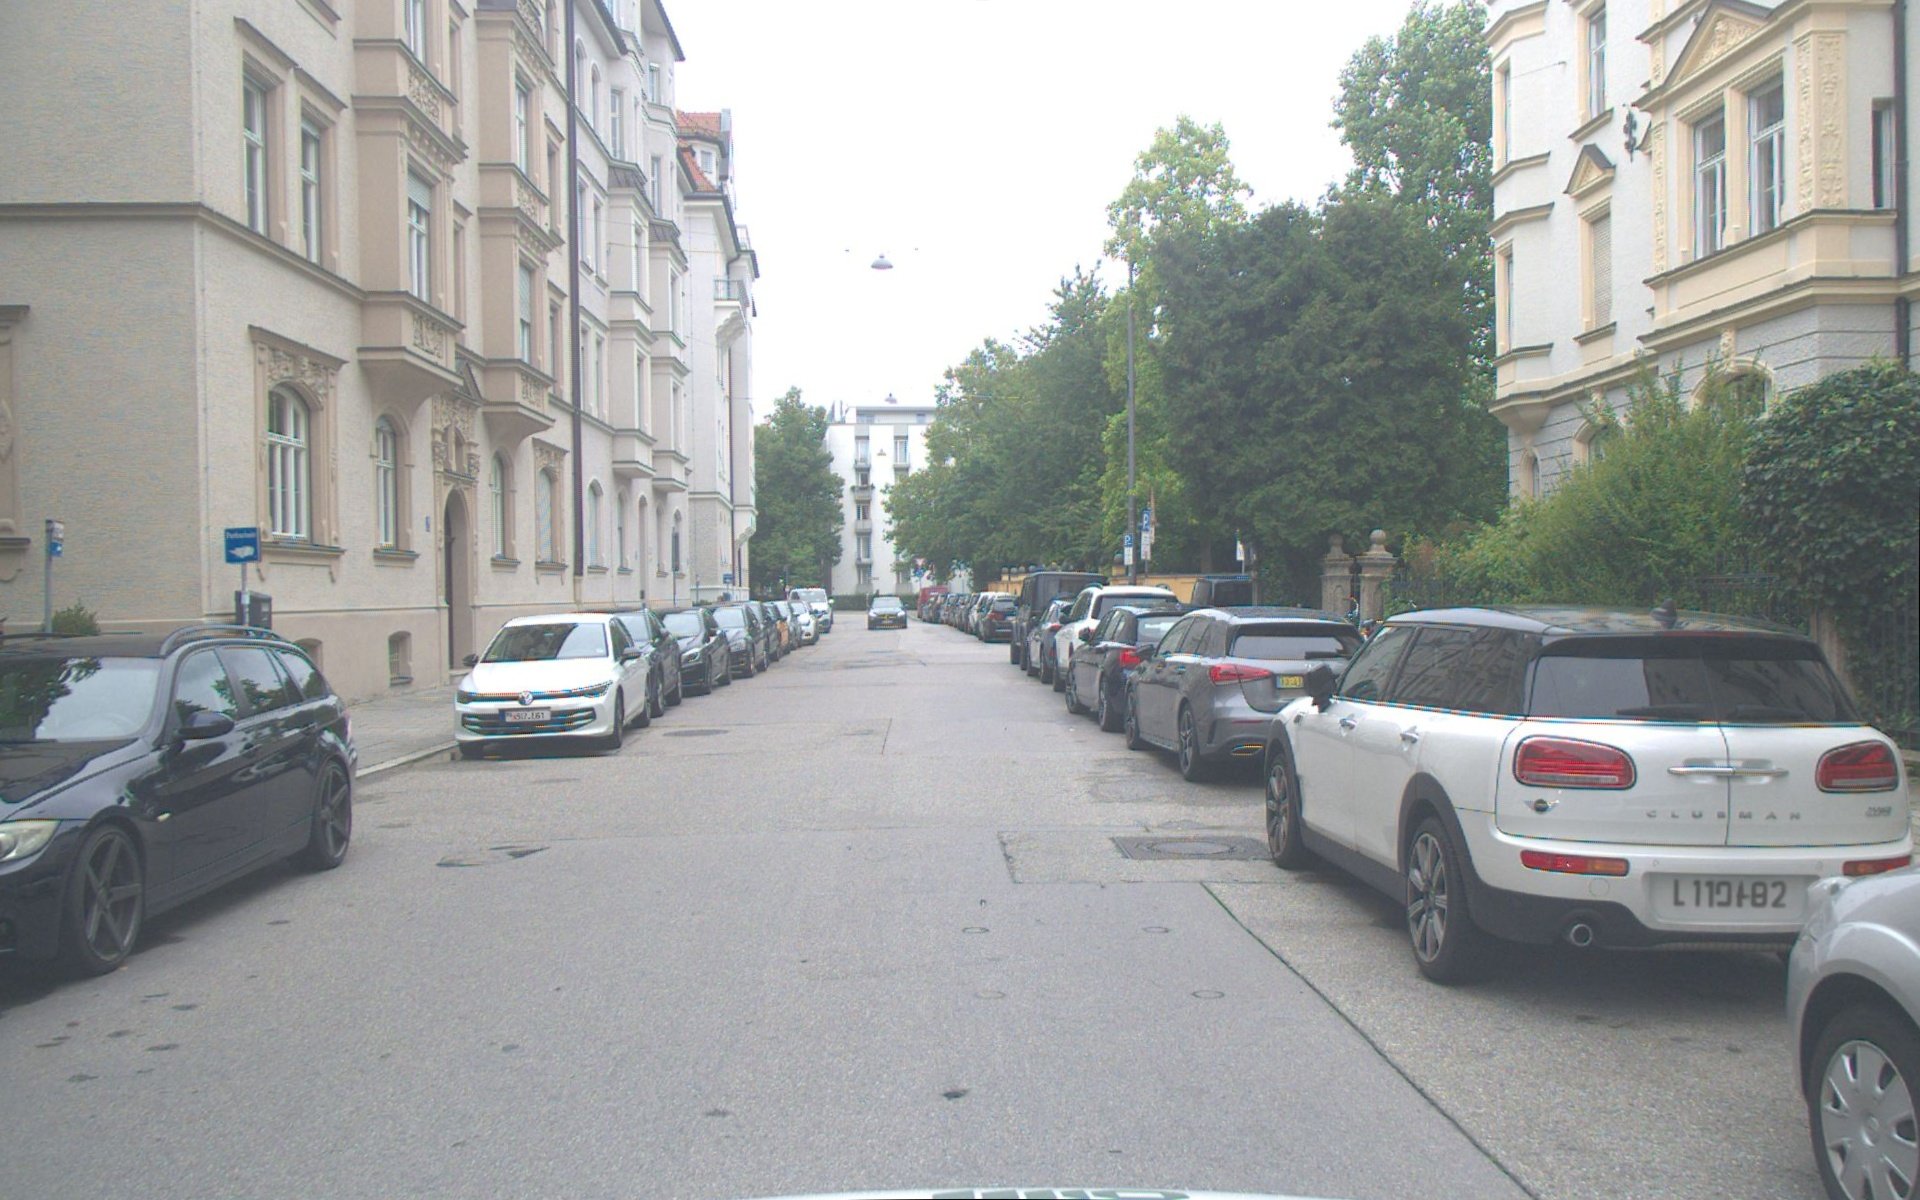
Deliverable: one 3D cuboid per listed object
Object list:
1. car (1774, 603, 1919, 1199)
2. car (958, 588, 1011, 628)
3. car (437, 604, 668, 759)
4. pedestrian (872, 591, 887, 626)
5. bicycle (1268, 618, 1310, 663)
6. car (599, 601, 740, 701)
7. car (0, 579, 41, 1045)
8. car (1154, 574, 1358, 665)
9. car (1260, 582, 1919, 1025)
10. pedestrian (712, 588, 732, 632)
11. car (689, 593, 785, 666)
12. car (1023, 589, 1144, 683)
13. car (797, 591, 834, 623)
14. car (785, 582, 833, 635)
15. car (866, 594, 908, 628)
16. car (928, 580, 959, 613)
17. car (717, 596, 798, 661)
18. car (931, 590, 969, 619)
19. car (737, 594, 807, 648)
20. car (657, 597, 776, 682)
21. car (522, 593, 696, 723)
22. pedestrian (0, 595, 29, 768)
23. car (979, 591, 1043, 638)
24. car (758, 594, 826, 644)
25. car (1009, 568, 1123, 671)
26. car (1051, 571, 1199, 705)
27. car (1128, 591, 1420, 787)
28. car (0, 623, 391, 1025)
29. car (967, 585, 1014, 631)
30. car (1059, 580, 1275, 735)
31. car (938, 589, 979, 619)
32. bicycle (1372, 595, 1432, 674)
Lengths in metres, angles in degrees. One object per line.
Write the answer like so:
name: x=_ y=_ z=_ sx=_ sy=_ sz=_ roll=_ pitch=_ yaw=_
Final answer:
car: x=2.948 y=0.733 z=2.466 sx=1.718 sy=1.431 sz=3.450 roll=0 pitch=0 yaw=-2
car: x=0.977 y=0.335 z=67.940 sx=1.803 sy=1.578 sz=3.943 roll=0 pitch=0 yaw=-5
car: x=-4.614 y=0.851 z=19.354 sx=1.800 sy=1.459 sz=4.242 roll=-3 pitch=1 yaw=-3
pedestrian: x=-5.465 y=0.589 z=112.581 sx=0.829 sy=2.325 sz=0.838 roll=-1 pitch=0 yaw=-18
bicycle: x=6.097 y=0.740 z=30.695 sx=0.502 sy=0.795 sz=1.354 roll=-1 pitch=0 yaw=-1
car: x=-4.967 y=0.813 z=28.860 sx=1.797 sy=1.459 sz=4.551 roll=-3 pitch=1 yaw=-3
car: x=-4.240 y=0.787 z=3.949 sx=1.799 sy=1.647 sz=4.243 roll=-1 pitch=1 yaw=-2
car: x=7.076 y=0.431 z=39.723 sx=4.444 sy=1.984 sz=1.900 roll=-2 pitch=2 yaw=-8
car: x=2.700 y=0.690 z=7.778 sx=1.748 sy=1.530 sz=4.064 roll=0 pitch=0 yaw=-2
pedestrian: x=-9.429 y=0.404 z=65.554 sx=0.777 sy=1.708 sz=0.699 roll=-1 pitch=0 yaw=-8
car: x=-5.251 y=0.664 z=39.393 sx=1.718 sy=1.525 sz=4.018 roll=-3 pitch=1 yaw=-1
car: x=2.170 y=0.617 z=29.899 sx=1.688 sy=1.545 sz=3.628 roll=2 pitch=0 yaw=-3
car: x=-8.443 y=0.393 z=97.042 sx=1.975 sy=1.662 sz=4.411 roll=-4 pitch=1 yaw=-4
car: x=-6.680 y=0.330 z=73.443 sx=1.849 sy=2.164 sz=4.703 roll=-4 pitch=1 yaw=-4
car: x=-3.389 y=0.480 z=76.369 sx=1.837 sy=1.453 sz=4.405 roll=-1 pitch=0 yaw=-4
car: x=-1.034 y=-0.226 z=103.239 sx=1.798 sy=1.960 sz=4.005 roll=2 pitch=1 yaw=0
car: x=-5.397 y=0.722 z=44.507 sx=1.607 sy=1.525 sz=3.971 roll=-4 pitch=1 yaw=0
car: x=-0.582 y=0.252 z=91.411 sx=1.803 sy=1.545 sz=3.943 roll=0 pitch=0 yaw=-5
car: x=-5.652 y=0.611 z=50.073 sx=1.691 sy=1.526 sz=3.929 roll=-2 pitch=0 yaw=-1
car: x=-4.929 y=0.763 z=34.019 sx=1.799 sy=1.460 sz=4.244 roll=-4 pitch=1 yaw=-1
car: x=-4.960 y=0.755 z=23.943 sx=1.735 sy=1.544 sz=4.382 roll=-4 pitch=1 yaw=-3
pedestrian: x=-9.523 y=0.786 z=16.010 sx=0.660 sy=1.654 sz=0.630 roll=-1 pitch=0 yaw=-4
car: x=1.591 y=0.456 z=52.983 sx=1.801 sy=1.438 sz=4.341 roll=0 pitch=0 yaw=-2
car: x=-5.539 y=0.595 z=54.972 sx=1.799 sy=1.463 sz=4.274 roll=-4 pitch=1 yaw=-1
car: x=2.147 y=0.335 z=34.712 sx=1.911 sy=1.988 sz=4.664 roll=1 pitch=1 yaw=-2
car: x=2.410 y=0.535 z=25.089 sx=1.688 sy=1.800 sz=4.412 roll=2 pitch=0 yaw=-1
car: x=2.677 y=0.686 z=15.009 sx=1.650 sy=1.530 sz=4.015 roll=0 pitch=0 yaw=-4
car: x=-4.515 y=0.908 z=8.530 sx=1.751 sy=1.437 sz=4.366 roll=-1 pitch=1 yaw=-2
car: x=1.125 y=0.313 z=62.755 sx=1.484 sy=1.690 sz=3.671 roll=0 pitch=0 yaw=-4
car: x=2.374 y=0.597 z=20.095 sx=1.716 sy=1.639 sz=4.420 roll=1 pitch=1 yaw=-5
car: x=-0.103 y=0.214 z=87.618 sx=1.803 sy=1.545 sz=3.943 roll=0 pitch=0 yaw=-5
bicycle: x=6.447 y=0.491 z=24.174 sx=0.445 sy=1.118 sz=1.313 roll=-1 pitch=0 yaw=-3
